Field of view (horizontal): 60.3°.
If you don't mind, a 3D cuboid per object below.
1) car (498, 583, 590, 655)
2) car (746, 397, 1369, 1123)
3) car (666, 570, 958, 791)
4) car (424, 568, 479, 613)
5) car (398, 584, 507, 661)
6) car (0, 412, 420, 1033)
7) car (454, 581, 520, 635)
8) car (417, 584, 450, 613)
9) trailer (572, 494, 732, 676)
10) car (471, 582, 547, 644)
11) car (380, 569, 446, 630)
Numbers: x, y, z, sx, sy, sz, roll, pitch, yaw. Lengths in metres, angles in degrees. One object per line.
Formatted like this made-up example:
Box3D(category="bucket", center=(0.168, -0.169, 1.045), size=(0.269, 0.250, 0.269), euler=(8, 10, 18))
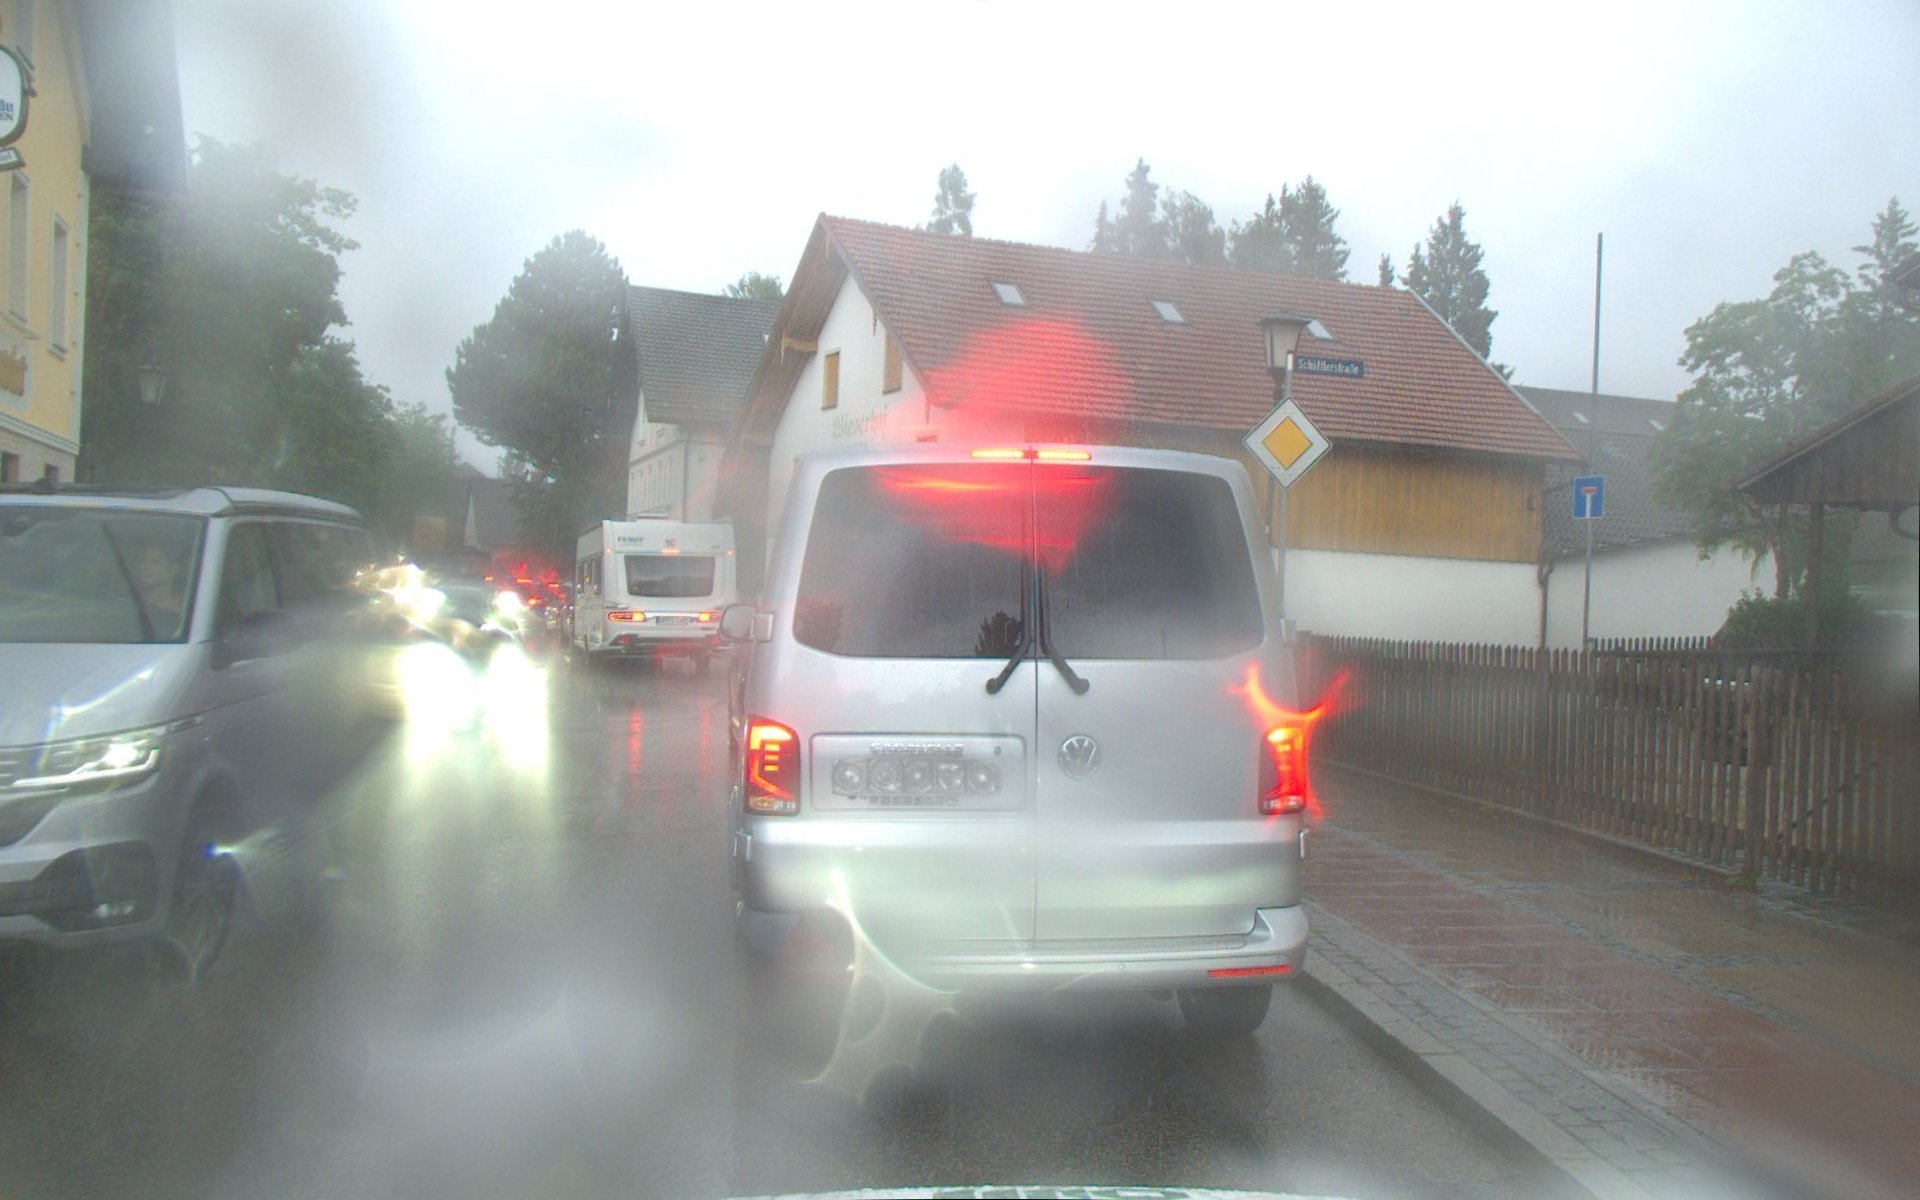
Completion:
Box3D(category="car", center=(-12.695, 0.524, 50.259), size=(2.137, 1.932, 4.985), euler=(3, 1, -20))
Box3D(category="car", center=(0.112, 0.445, 7.154), size=(1.741, 1.997, 5.070), euler=(0, 0, -4))
Box3D(category="car", center=(-1.487, 0.556, 14.662), size=(1.681, 1.611, 4.664), euler=(-1, 1, -17))
Box3D(category="car", center=(-23.785, -0.479, 77.288), size=(2.137, 1.932, 4.985), euler=(3, 1, -20))
Box3D(category="car", center=(-10.219, 0.387, 33.116), size=(1.835, 1.382, 4.456), euler=(0, 1, -21))
Box3D(category="car", center=(-3.898, 0.406, 7.610), size=(1.815, 2.006, 4.694), euler=(0, 0, -7))
Box3D(category="car", center=(-18.996, 0.272, 66.246), size=(2.137, 1.932, 4.985), euler=(3, 1, -20))
Box3D(category="car", center=(-40.214, -0.131, 126.261), size=(2.137, 1.932, 4.985), euler=(3, 1, -20))
Box3D(category="trailer", center=(-5.762, -0.248, 30.252), size=(2.234, 2.955, 6.104), euler=(1, 0, -17))
Box3D(category="car", center=(-15.963, 0.435, 58.413), size=(2.137, 1.932, 4.985), euler=(3, 1, -20))
Box3D(category="car", center=(-17.131, -0.045, 51.827), size=(1.834, 1.788, 4.459), euler=(-2, 1, -19))
